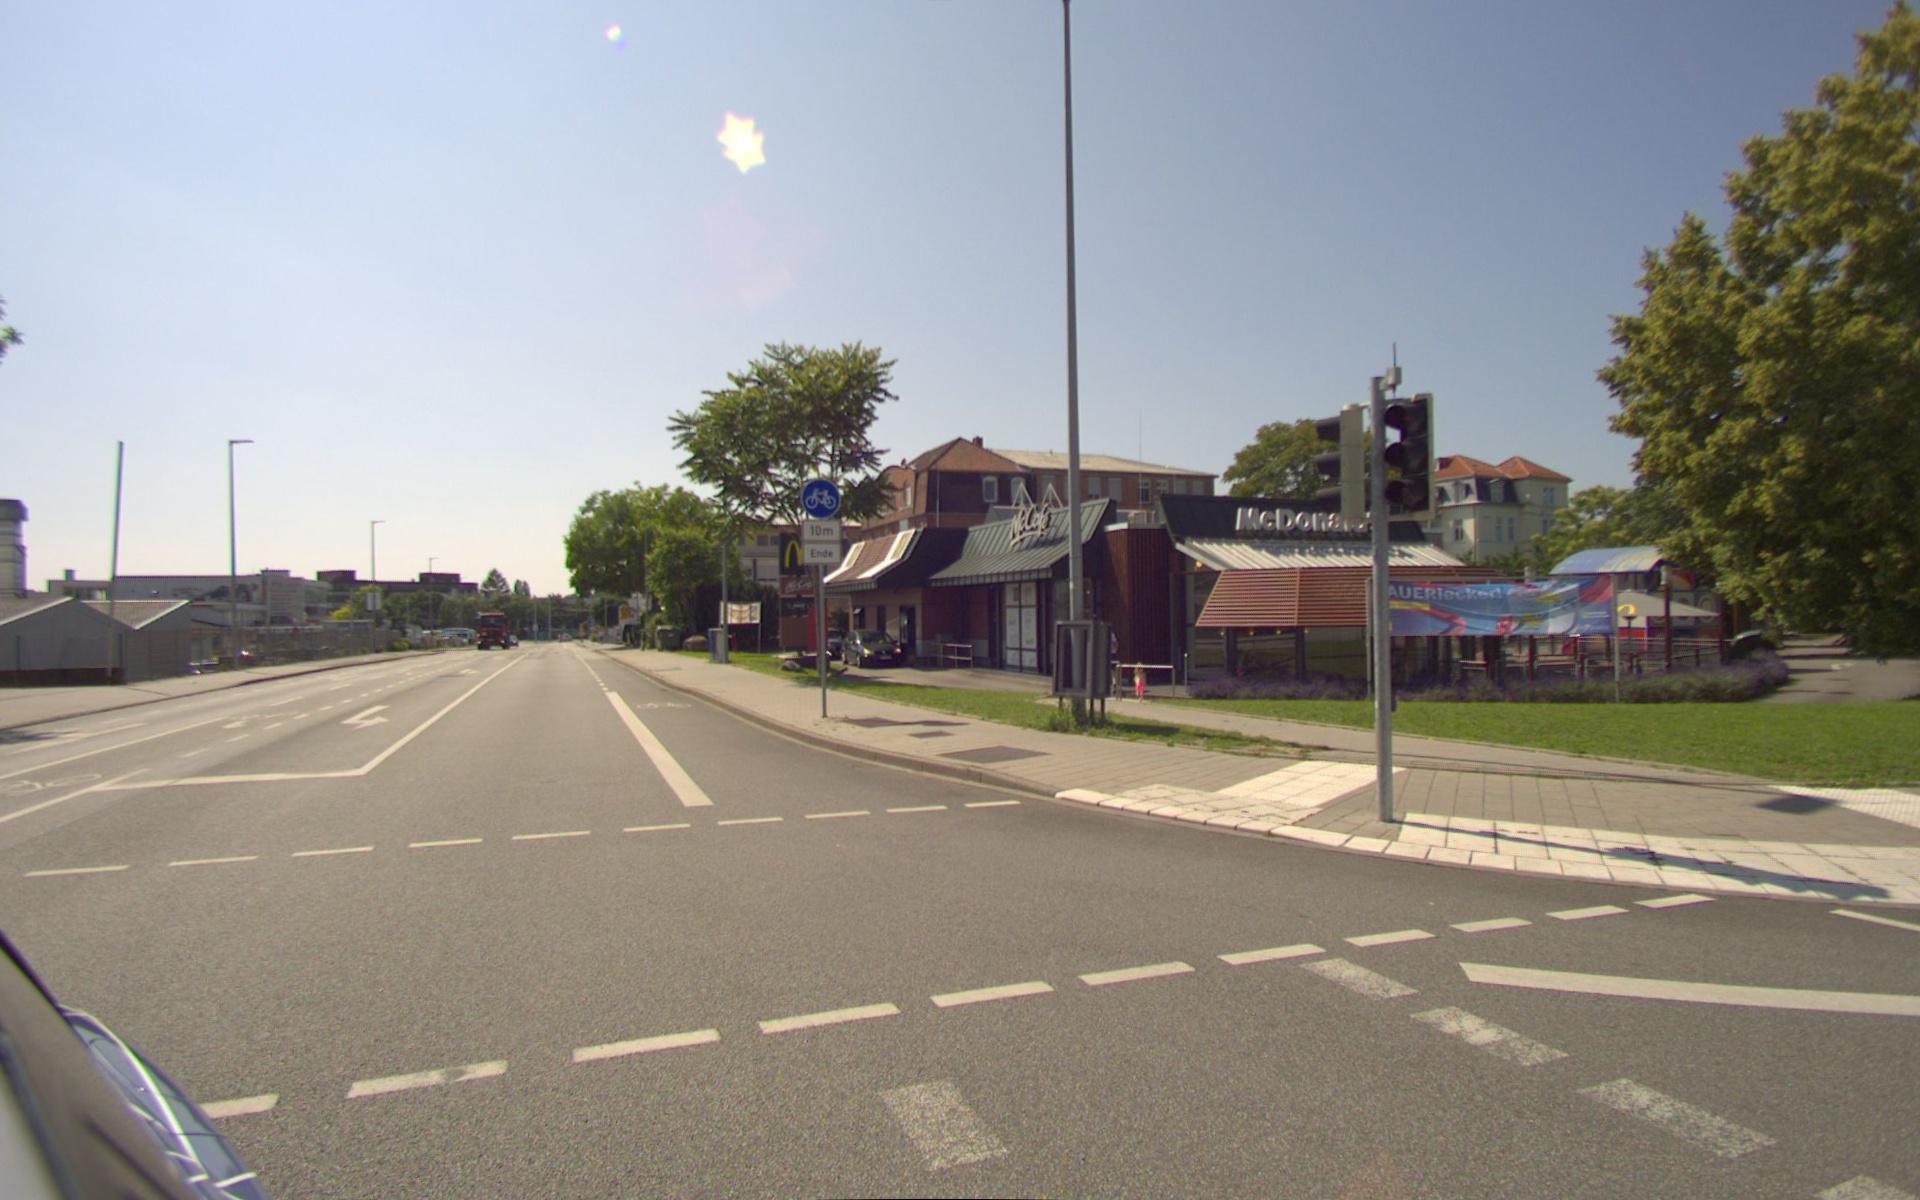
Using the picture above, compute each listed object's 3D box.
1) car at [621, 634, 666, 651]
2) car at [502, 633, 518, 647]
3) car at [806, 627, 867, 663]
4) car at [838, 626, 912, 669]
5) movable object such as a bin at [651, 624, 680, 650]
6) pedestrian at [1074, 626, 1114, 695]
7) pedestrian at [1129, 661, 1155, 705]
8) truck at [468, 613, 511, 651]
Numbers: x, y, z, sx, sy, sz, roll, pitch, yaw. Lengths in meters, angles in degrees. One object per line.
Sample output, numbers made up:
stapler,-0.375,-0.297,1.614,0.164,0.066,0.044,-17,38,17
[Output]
car,-28.643,3.815,91.586,3.841,1.409,1.657,-1,-1,-17
car,-57.658,5.130,129.564,1.804,1.674,4.013,0,-1,-25
car,-5.755,2.036,46.679,1.833,1.564,4.201,-1,-1,-20
car,-3.449,1.850,40.381,1.833,1.564,4.201,-1,-1,-20
movable object such as a bin,-16.559,2.060,56.879,1.443,1.422,1.460,-1,-1,-22
pedestrian,3.537,1.586,26.827,0.627,1.771,0.895,0,-2,-26
pedestrian,4.331,1.962,24.102,0.375,1.005,0.512,0,-2,-26
truck,-45.302,3.082,97.651,3.257,3.412,9.198,-1,-1,-23
